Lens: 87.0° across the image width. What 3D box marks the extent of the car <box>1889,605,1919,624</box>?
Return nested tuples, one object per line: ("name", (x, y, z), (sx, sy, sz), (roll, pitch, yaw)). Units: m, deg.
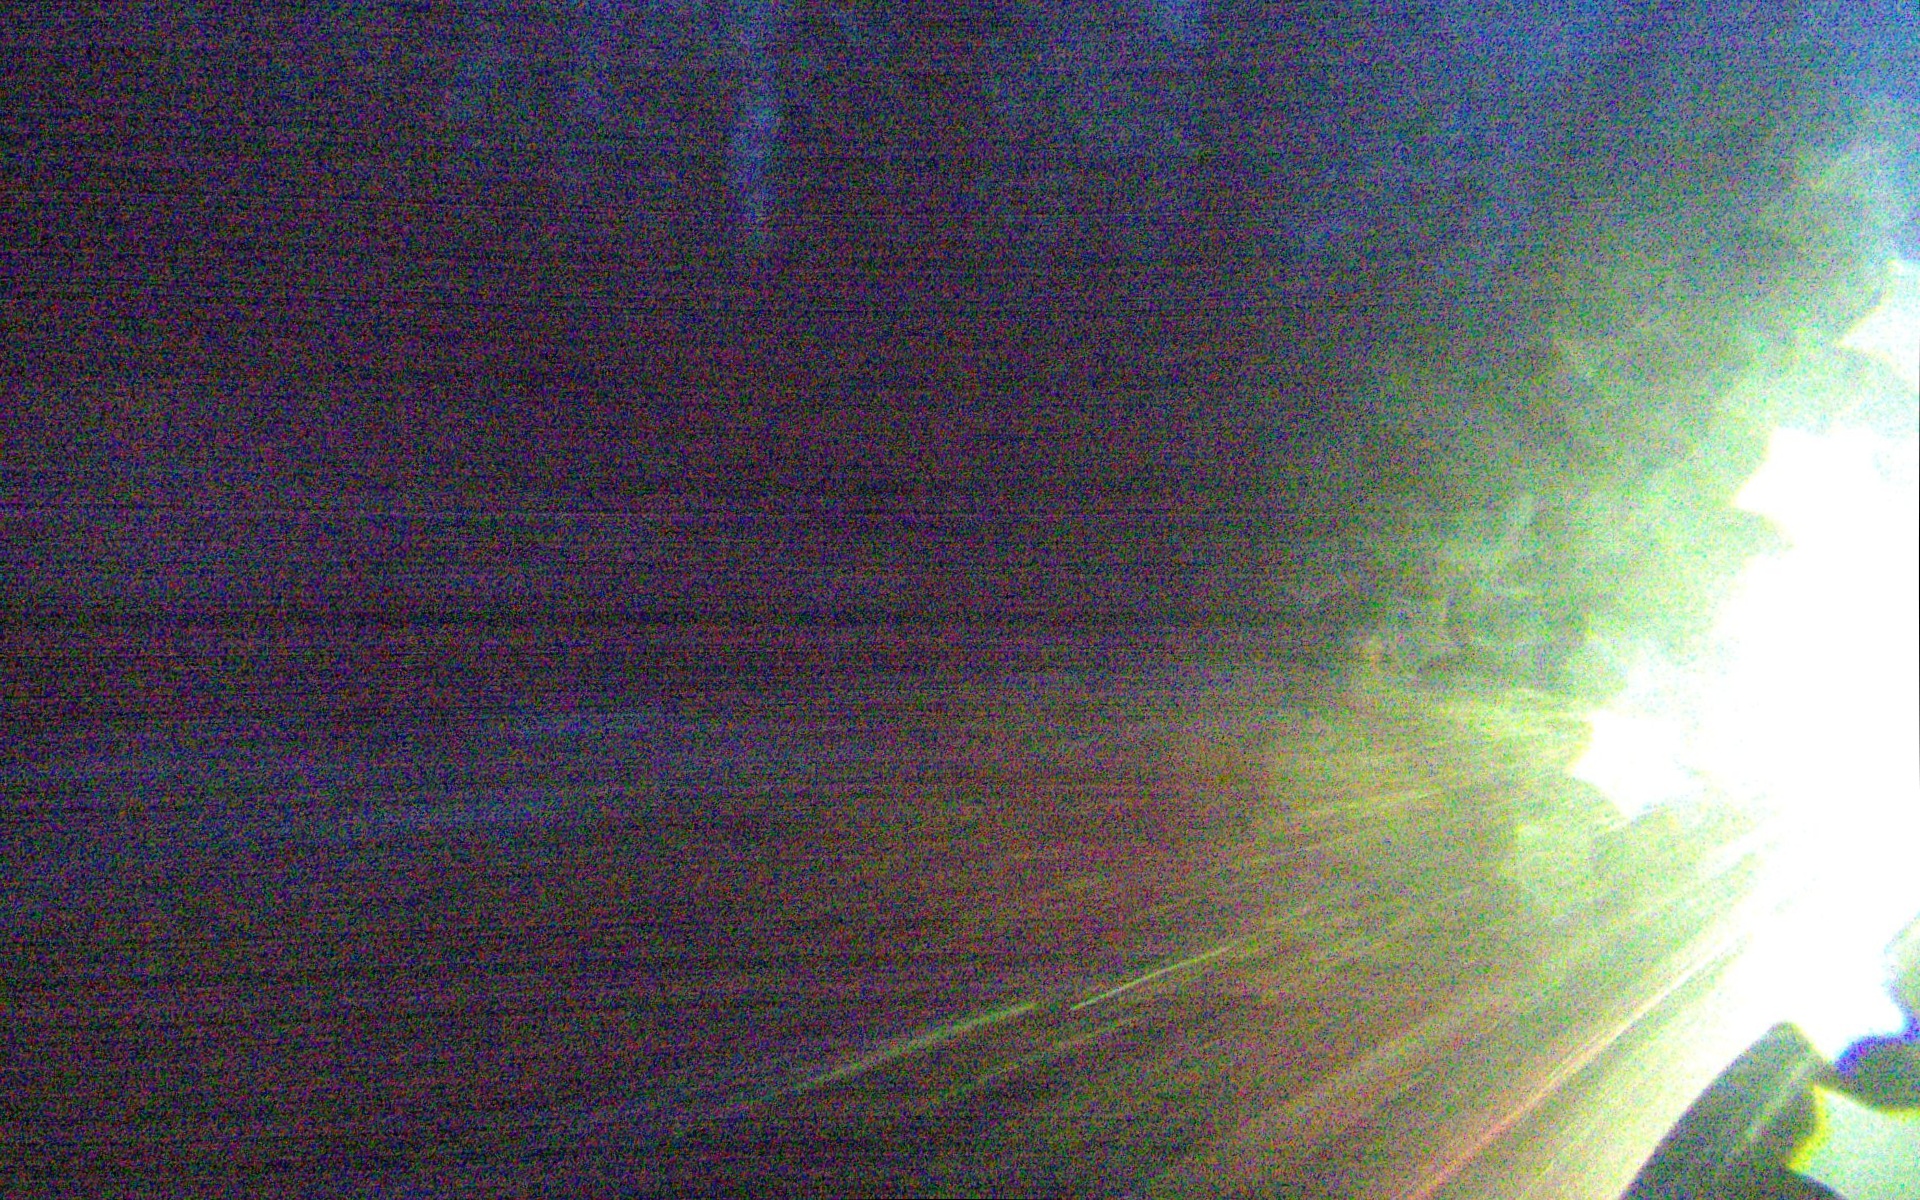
("car", (89.962, 1.354, 96.434), (1.839, 1.742, 3.904), (1, 0, 38))
